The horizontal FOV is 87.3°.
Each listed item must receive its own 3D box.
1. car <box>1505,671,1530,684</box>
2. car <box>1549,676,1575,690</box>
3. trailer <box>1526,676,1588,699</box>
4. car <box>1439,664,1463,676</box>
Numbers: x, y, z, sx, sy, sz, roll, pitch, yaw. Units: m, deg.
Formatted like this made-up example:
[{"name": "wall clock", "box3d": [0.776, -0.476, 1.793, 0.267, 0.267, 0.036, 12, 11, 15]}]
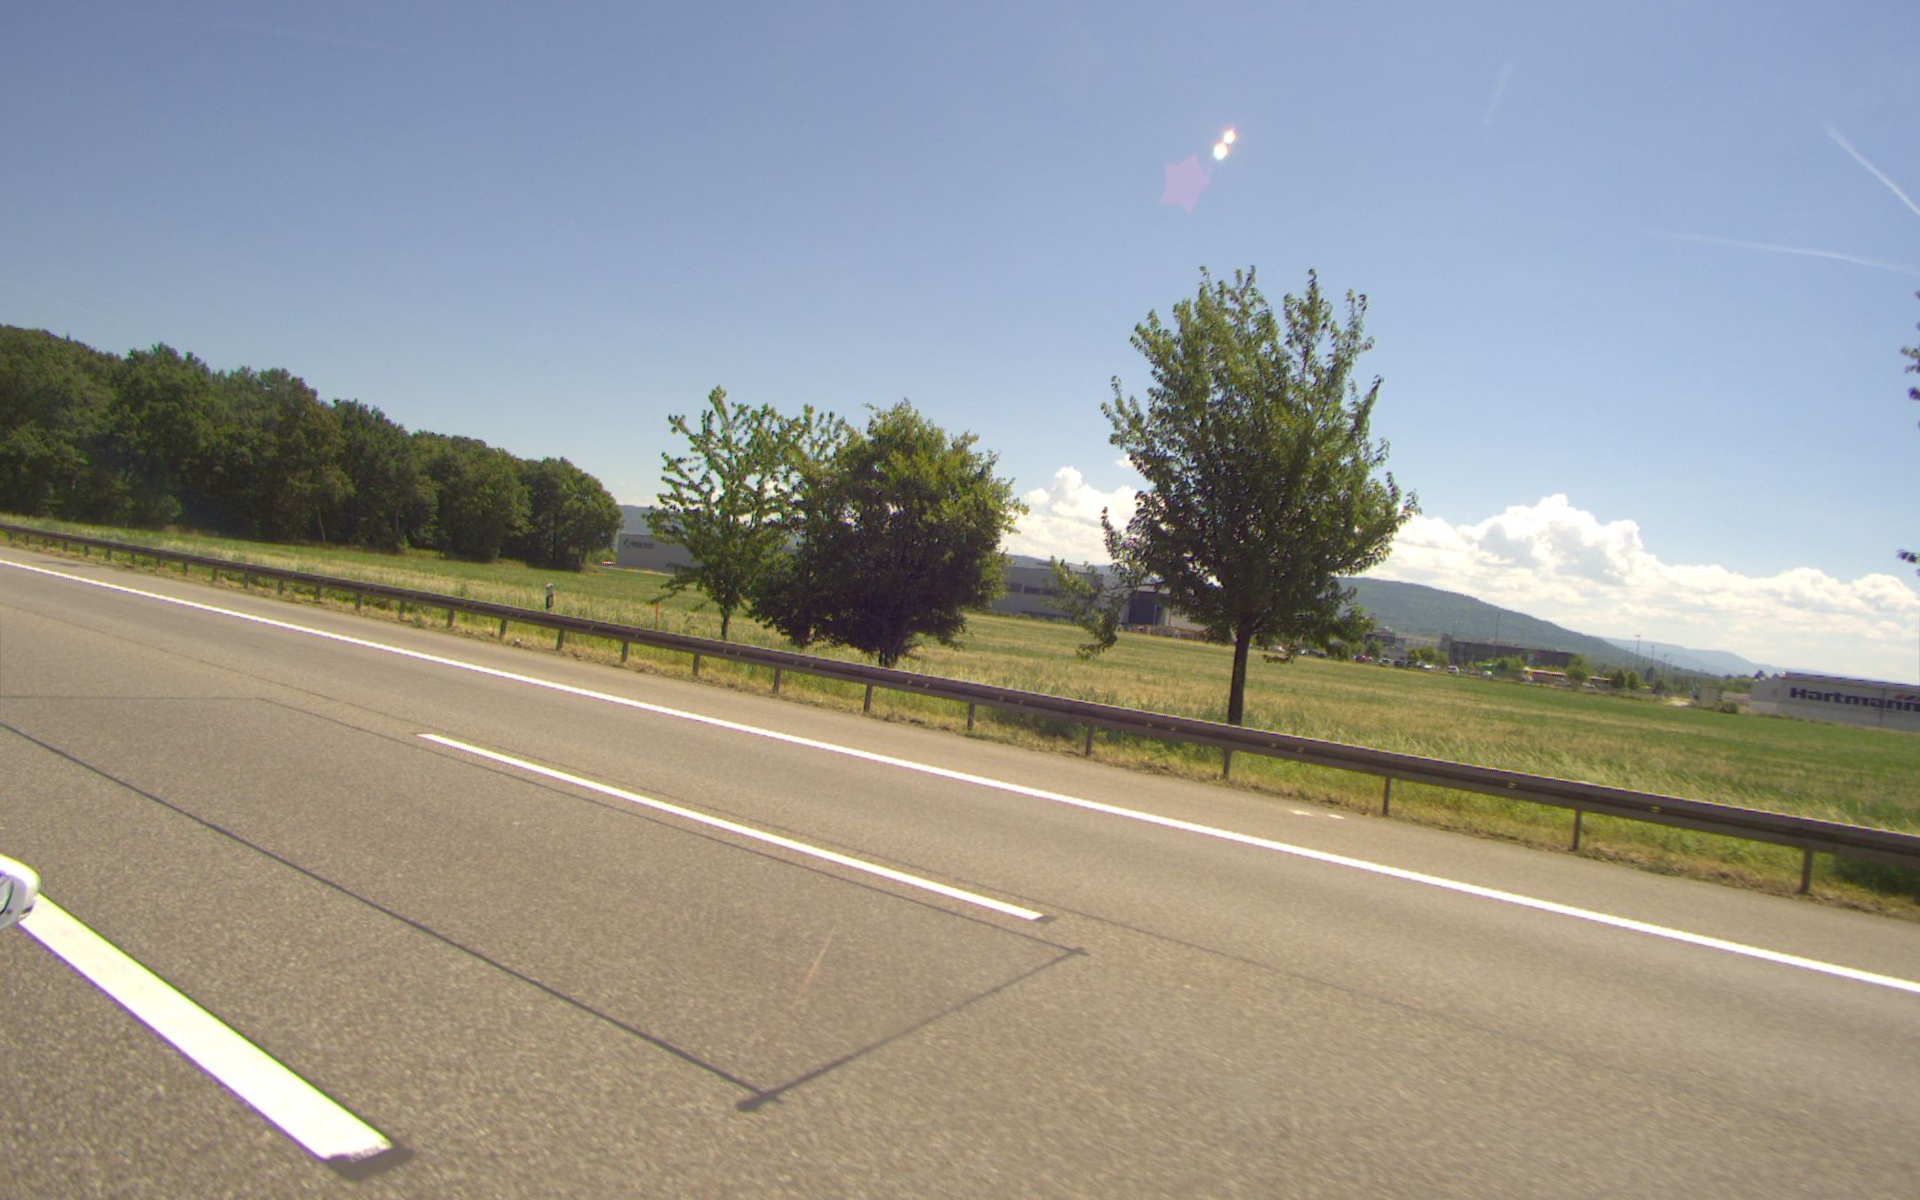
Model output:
[{"name": "car", "box3d": [111.666, 15.581, 201.457, 3.940, 2.038, 1.868, 6, -1, 37]}, {"name": "car", "box3d": [117.679, 16.200, 196.672, 3.940, 2.038, 1.868, 6, -1, 37]}, {"name": "trailer", "box3d": [125.362, 18.323, 211.257, 10.811, 3.185, 1.992, 6, 0, 39]}, {"name": "car", "box3d": [102.180, 14.615, 209.397, 3.940, 2.038, 1.868, 6, -1, 37]}]
